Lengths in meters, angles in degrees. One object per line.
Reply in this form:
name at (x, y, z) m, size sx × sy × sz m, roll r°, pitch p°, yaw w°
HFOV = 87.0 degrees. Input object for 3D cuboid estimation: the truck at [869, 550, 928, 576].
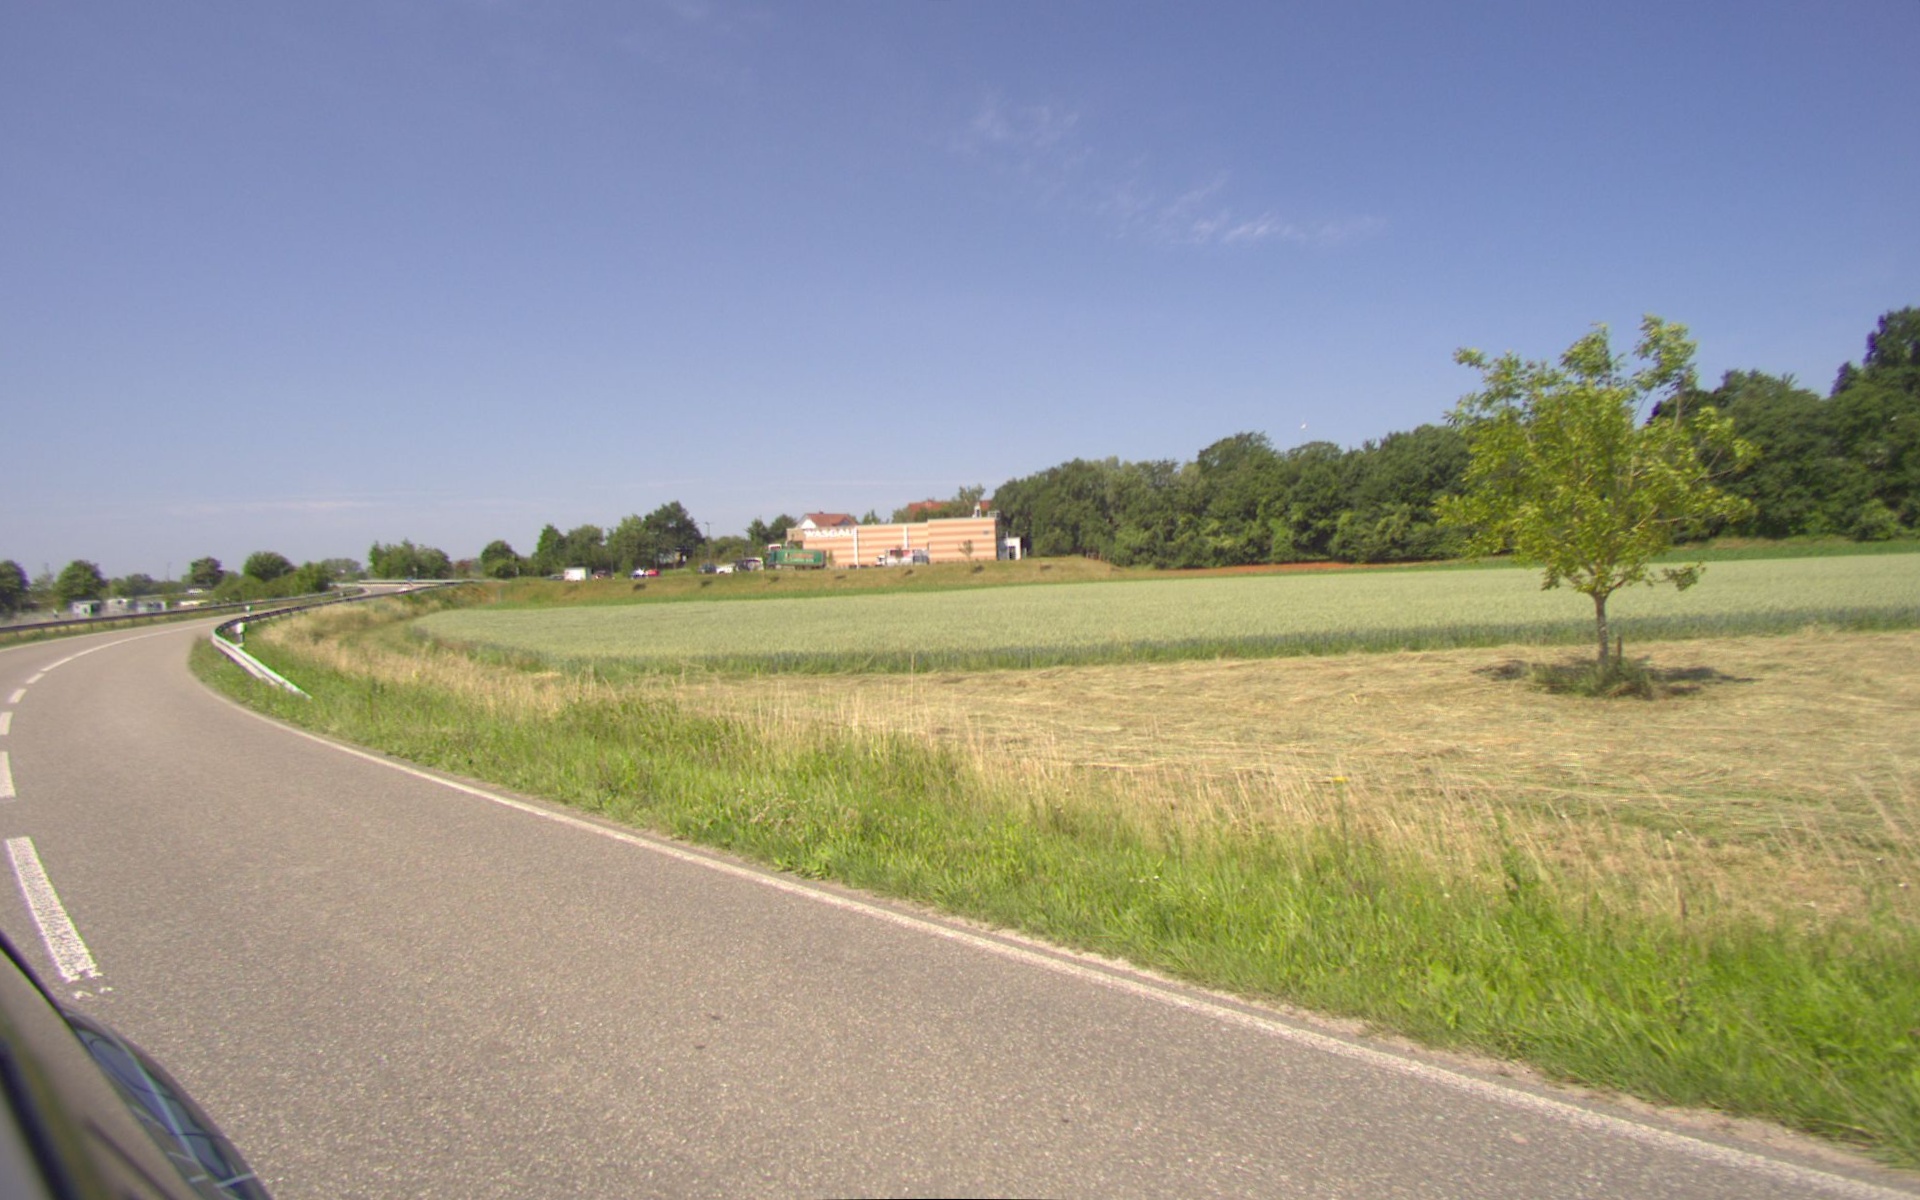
truck at (-9.570, -5.842, 157.982) m, size 8.767 × 3.589 × 2.876 m, roll -3°, pitch 4°, yaw 4°

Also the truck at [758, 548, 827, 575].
truck at (-25.702, -5.917, 155.573) m, size 9.824 × 3.502 × 2.873 m, roll -2°, pitch 4°, yaw 7°

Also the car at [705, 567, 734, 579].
car at (-40.536, -4.552, 170.621) m, size 4.275 × 1.716 × 2.000 m, roll -3°, pitch 4°, yaw 2°

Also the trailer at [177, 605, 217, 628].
trailer at (-99.599, 2.129, 132.176) m, size 3.372 × 2.825 × 2.166 m, roll -3°, pitch 2°, yaw -1°

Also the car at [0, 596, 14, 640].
car at (-85.256, 1.757, 84.881) m, size 8.868 × 3.679 × 2.781 m, roll -3°, pitch 2°, yaw -1°

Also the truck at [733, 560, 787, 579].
truck at (-40.580, -6.141, 205.567) m, size 10.545 × 3.214 × 2.454 m, roll -4°, pitch 4°, yaw -12°

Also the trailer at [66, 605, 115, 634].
trailer at (-87.063, 1.895, 101.338) m, size 4.458 × 2.690 × 2.156 m, roll 0°, pitch 2°, yaw 27°

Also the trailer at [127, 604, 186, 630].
trailer at (-93.633, 1.968, 117.935) m, size 5.118 × 2.708 × 2.208 m, roll -3°, pitch 1°, yaw 2°

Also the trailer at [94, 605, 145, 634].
trailer at (-87.793, 2.015, 105.747) m, size 5.018 × 2.886 × 2.215 m, roll -2°, pitch 1°, yaw 27°
